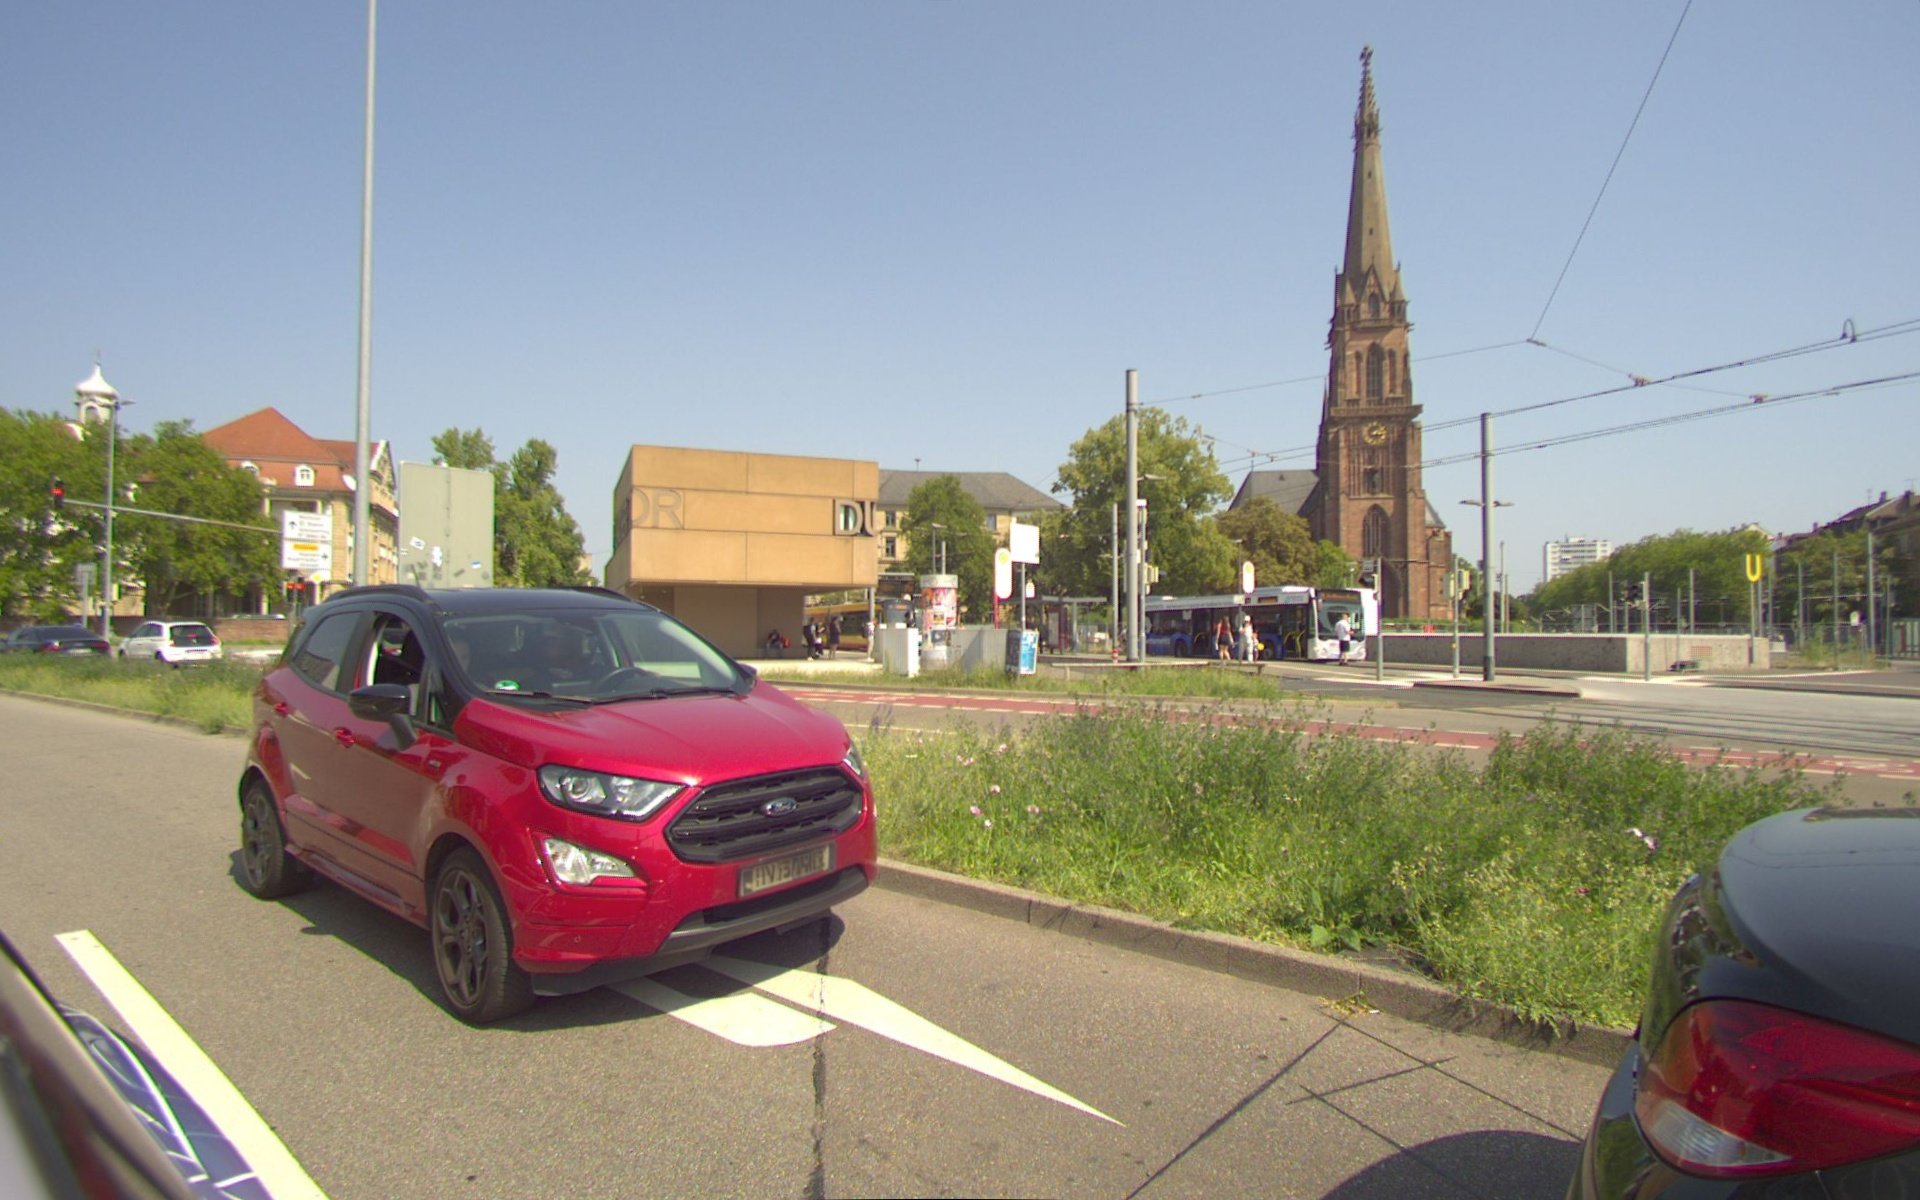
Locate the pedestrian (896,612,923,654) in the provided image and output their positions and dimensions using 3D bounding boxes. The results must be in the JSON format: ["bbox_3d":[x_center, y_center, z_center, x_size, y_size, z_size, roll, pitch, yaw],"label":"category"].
[{"bbox_3d":[-1.831,1.215,36.843,0.605,1.508,0.761,-1,-3,39],"label":"pedestrian"}]

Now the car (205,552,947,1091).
[{"bbox_3d":[-2.069,0.691,4.887,3.841,1.598,1.673,-1,-1,40],"label":"car"}]

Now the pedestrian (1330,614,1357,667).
[{"bbox_3d":[13.416,1.396,35.380,0.592,1.825,0.639,-1,0,-38],"label":"pedestrian"}]

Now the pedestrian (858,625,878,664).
[{"bbox_3d":[-3.616,1.752,39.855,0.541,1.508,0.532,-1,-3,39],"label":"pedestrian"}]

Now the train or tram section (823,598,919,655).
[{"bbox_3d":[-6.169,1.799,67.323,2.658,3.465,13.463,1,-2,-21],"label":"train or tram section"}]

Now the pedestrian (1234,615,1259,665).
[{"bbox_3d":[9.884,1.381,34.921,0.527,1.724,0.695,1,-2,-20],"label":"pedestrian"}]

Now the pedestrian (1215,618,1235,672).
[{"bbox_3d":[9.015,1.519,34.415,0.632,1.825,0.599,-1,0,16],"label":"pedestrian"}]

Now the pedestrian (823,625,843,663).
[{"bbox_3d":[-5.000,1.731,39.892,0.541,1.508,0.532,-1,-3,39],"label":"pedestrian"}]

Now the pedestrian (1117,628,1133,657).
[{"bbox_3d":[9.307,2.390,57.144,0.750,1.645,0.931,-1,-2,20],"label":"pedestrian"}]

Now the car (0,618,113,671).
[{"bbox_3d":[-25.804,1.256,28.882,3.466,1.437,1.510,-1,-2,32],"label":"car"}]

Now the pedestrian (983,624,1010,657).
[{"bbox_3d":[1.935,2.115,53.483,1.060,1.709,1.068,1,-2,-21],"label":"pedestrian"}]

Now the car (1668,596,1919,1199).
[{"bbox_3d":[2.743,0.660,0.392,1.745,1.398,3.783,0,-1,-45],"label":"car"}]

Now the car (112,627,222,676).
[{"bbox_3d":[-25.287,1.603,32.253,3.462,1.490,1.512,-1,-2,29],"label":"car"}]

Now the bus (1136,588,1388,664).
[{"bbox_3d":[12.107,1.146,42.733,3.346,2.733,12.382,1,-2,-21],"label":"bus"}]

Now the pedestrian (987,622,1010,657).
[{"bbox_3d":[2.031,2.095,53.493,0.913,1.837,0.940,1,-2,-21],"label":"pedestrian"}]

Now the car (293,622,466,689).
[{"bbox_3d":[-15.061,1.379,26.184,4.702,1.597,1.977,-1,-2,33],"label":"car"}]

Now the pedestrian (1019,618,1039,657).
[{"bbox_3d":[3.336,1.810,49.046,0.792,1.837,0.535,1,-2,-21],"label":"pedestrian"}]

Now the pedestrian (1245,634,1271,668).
[{"bbox_3d":[10.420,1.776,35.400,0.627,1.134,0.603,-1,0,-18],"label":"pedestrian"}]

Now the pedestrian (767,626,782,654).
[{"bbox_3d":[-7.477,1.623,40.793,0.530,1.108,0.543,1,-2,-18],"label":"pedestrian"}]

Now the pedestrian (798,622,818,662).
[{"bbox_3d":[-5.875,1.626,39.088,0.541,1.508,0.532,-1,-3,39],"label":"pedestrian"}]

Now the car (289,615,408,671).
[{"bbox_3d":[-21.487,1.465,35.545,3.898,1.868,1.851,0,-2,29],"label":"car"}]
